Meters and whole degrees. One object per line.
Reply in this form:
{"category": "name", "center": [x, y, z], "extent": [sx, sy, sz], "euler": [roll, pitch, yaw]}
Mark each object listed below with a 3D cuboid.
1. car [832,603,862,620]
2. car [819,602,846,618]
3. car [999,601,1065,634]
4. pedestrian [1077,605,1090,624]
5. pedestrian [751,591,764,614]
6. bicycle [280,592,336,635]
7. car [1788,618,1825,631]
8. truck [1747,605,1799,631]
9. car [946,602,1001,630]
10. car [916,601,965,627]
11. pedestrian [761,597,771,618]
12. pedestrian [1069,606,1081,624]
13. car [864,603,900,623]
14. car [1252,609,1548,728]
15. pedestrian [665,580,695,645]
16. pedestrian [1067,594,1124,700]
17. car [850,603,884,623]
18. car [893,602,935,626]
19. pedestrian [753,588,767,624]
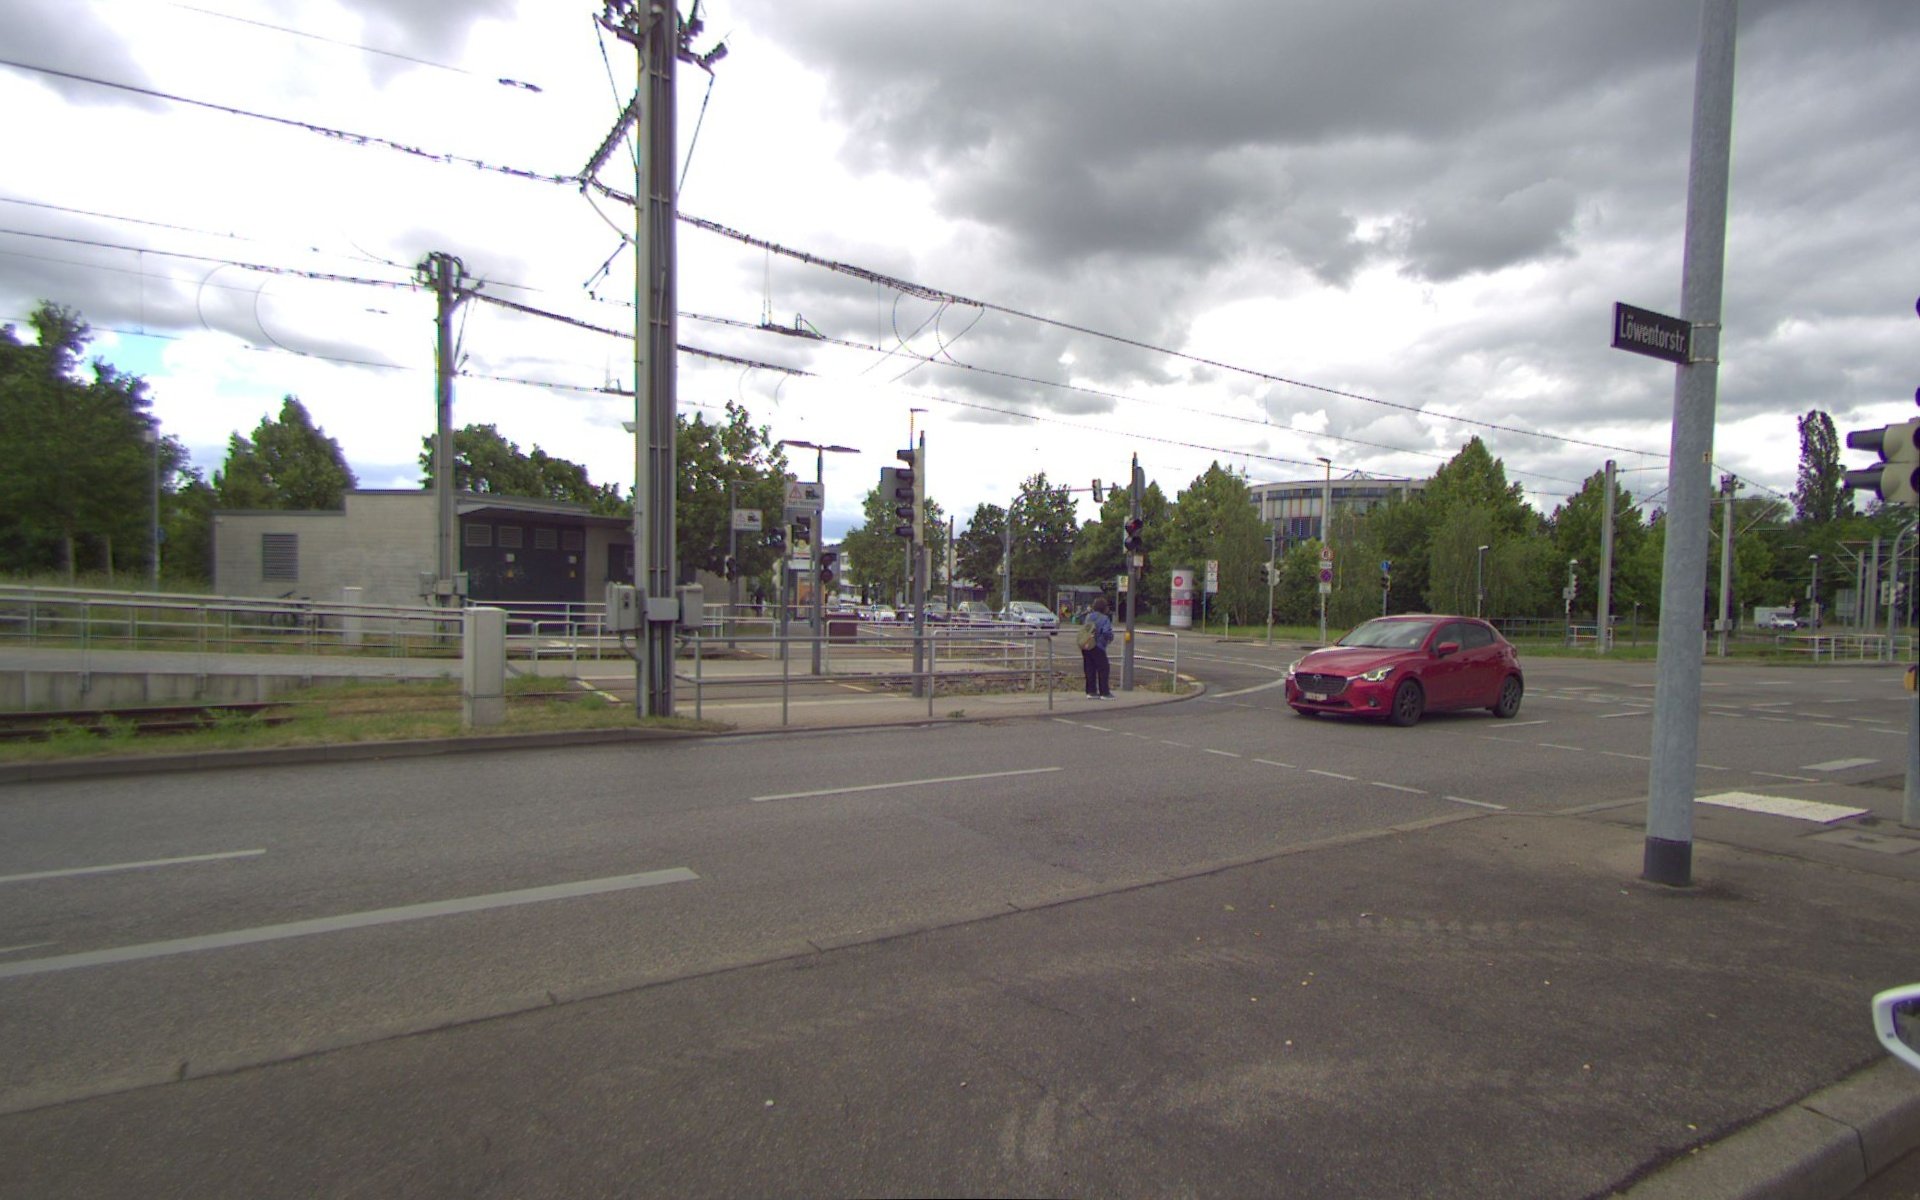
{"category": "car", "center": [-9.767, 0.980, 86.720], "extent": [1.706, 1.456, 3.731], "euler": [1, 0, -20]}
{"category": "car", "center": [-11.930, 0.955, 94.077], "extent": [1.706, 1.456, 3.731], "euler": [1, 0, -20]}
{"category": "car", "center": [3.303, 0.797, 46.814], "extent": [1.706, 1.456, 3.731], "euler": [1, 0, -20]}
{"category": "pedestrian", "center": [8.814, 1.039, 71.616], "extent": [0.652, 1.322, 0.780], "euler": [1, 0, -16]}
{"category": "pedestrian", "center": [-14.640, 0.202, 72.590], "extent": [0.771, 1.649, 0.660], "euler": [1, 0, -22]}
{"category": "bicycle", "center": [-17.326, 0.345, 26.682], "extent": [1.452, 1.101, 0.492], "euler": [1, 0, 22]}
{"category": "car", "center": [116.406, 3.372, 138.211], "extent": [1.748, 1.567, 4.025], "euler": [1, 0, 2]}
{"category": "truck", "center": [103.147, 2.254, 127.545], "extent": [2.079, 3.176, 5.902], "euler": [2, 0, 4]}
{"category": "car", "center": [0.690, 0.840, 53.673], "extent": [1.706, 1.456, 3.731], "euler": [1, 0, -20]}
{"category": "car", "center": [-1.149, 0.813, 58.169], "extent": [1.706, 1.456, 3.731], "euler": [1, 0, -20]}
{"category": "pedestrian", "center": [-15.237, 0.594, 78.884], "extent": [0.695, 1.649, 0.629], "euler": [1, 0, -24]}
{"category": "pedestrian", "center": [8.350, 1.076, 72.932], "extent": [0.652, 1.321, 0.780], "euler": [1, 0, -16]}
{"category": "car", "center": [-5.812, 0.957, 74.786], "extent": [1.706, 1.456, 3.731], "euler": [1, 0, -20]}
{"category": "car", "center": [6.375, 0.900, 14.403], "extent": [4.377, 1.462, 1.771], "euler": [1, -1, -33]}
{"category": "pedestrian", "center": [-7.109, 0.306, 25.494], "extent": [0.695, 1.628, 0.655], "euler": [1, 0, -18]}
{"category": "pedestrian", "center": [2.082, 0.702, 15.444], "extent": [0.701, 1.584, 0.533], "euler": [1, 1, -44]}
{"category": "car", "center": [-7.417, 1.017, 79.689], "extent": [1.706, 1.456, 3.991], "euler": [1, 0, -20]}
{"category": "car", "center": [-3.003, 0.884, 64.936], "extent": [1.706, 1.456, 3.731], "euler": [1, 0, -20]}
{"category": "pedestrian", "center": [-11.240, 0.310, 56.450], "extent": [0.738, 1.993, 0.795], "euler": [1, 0, -9]}
